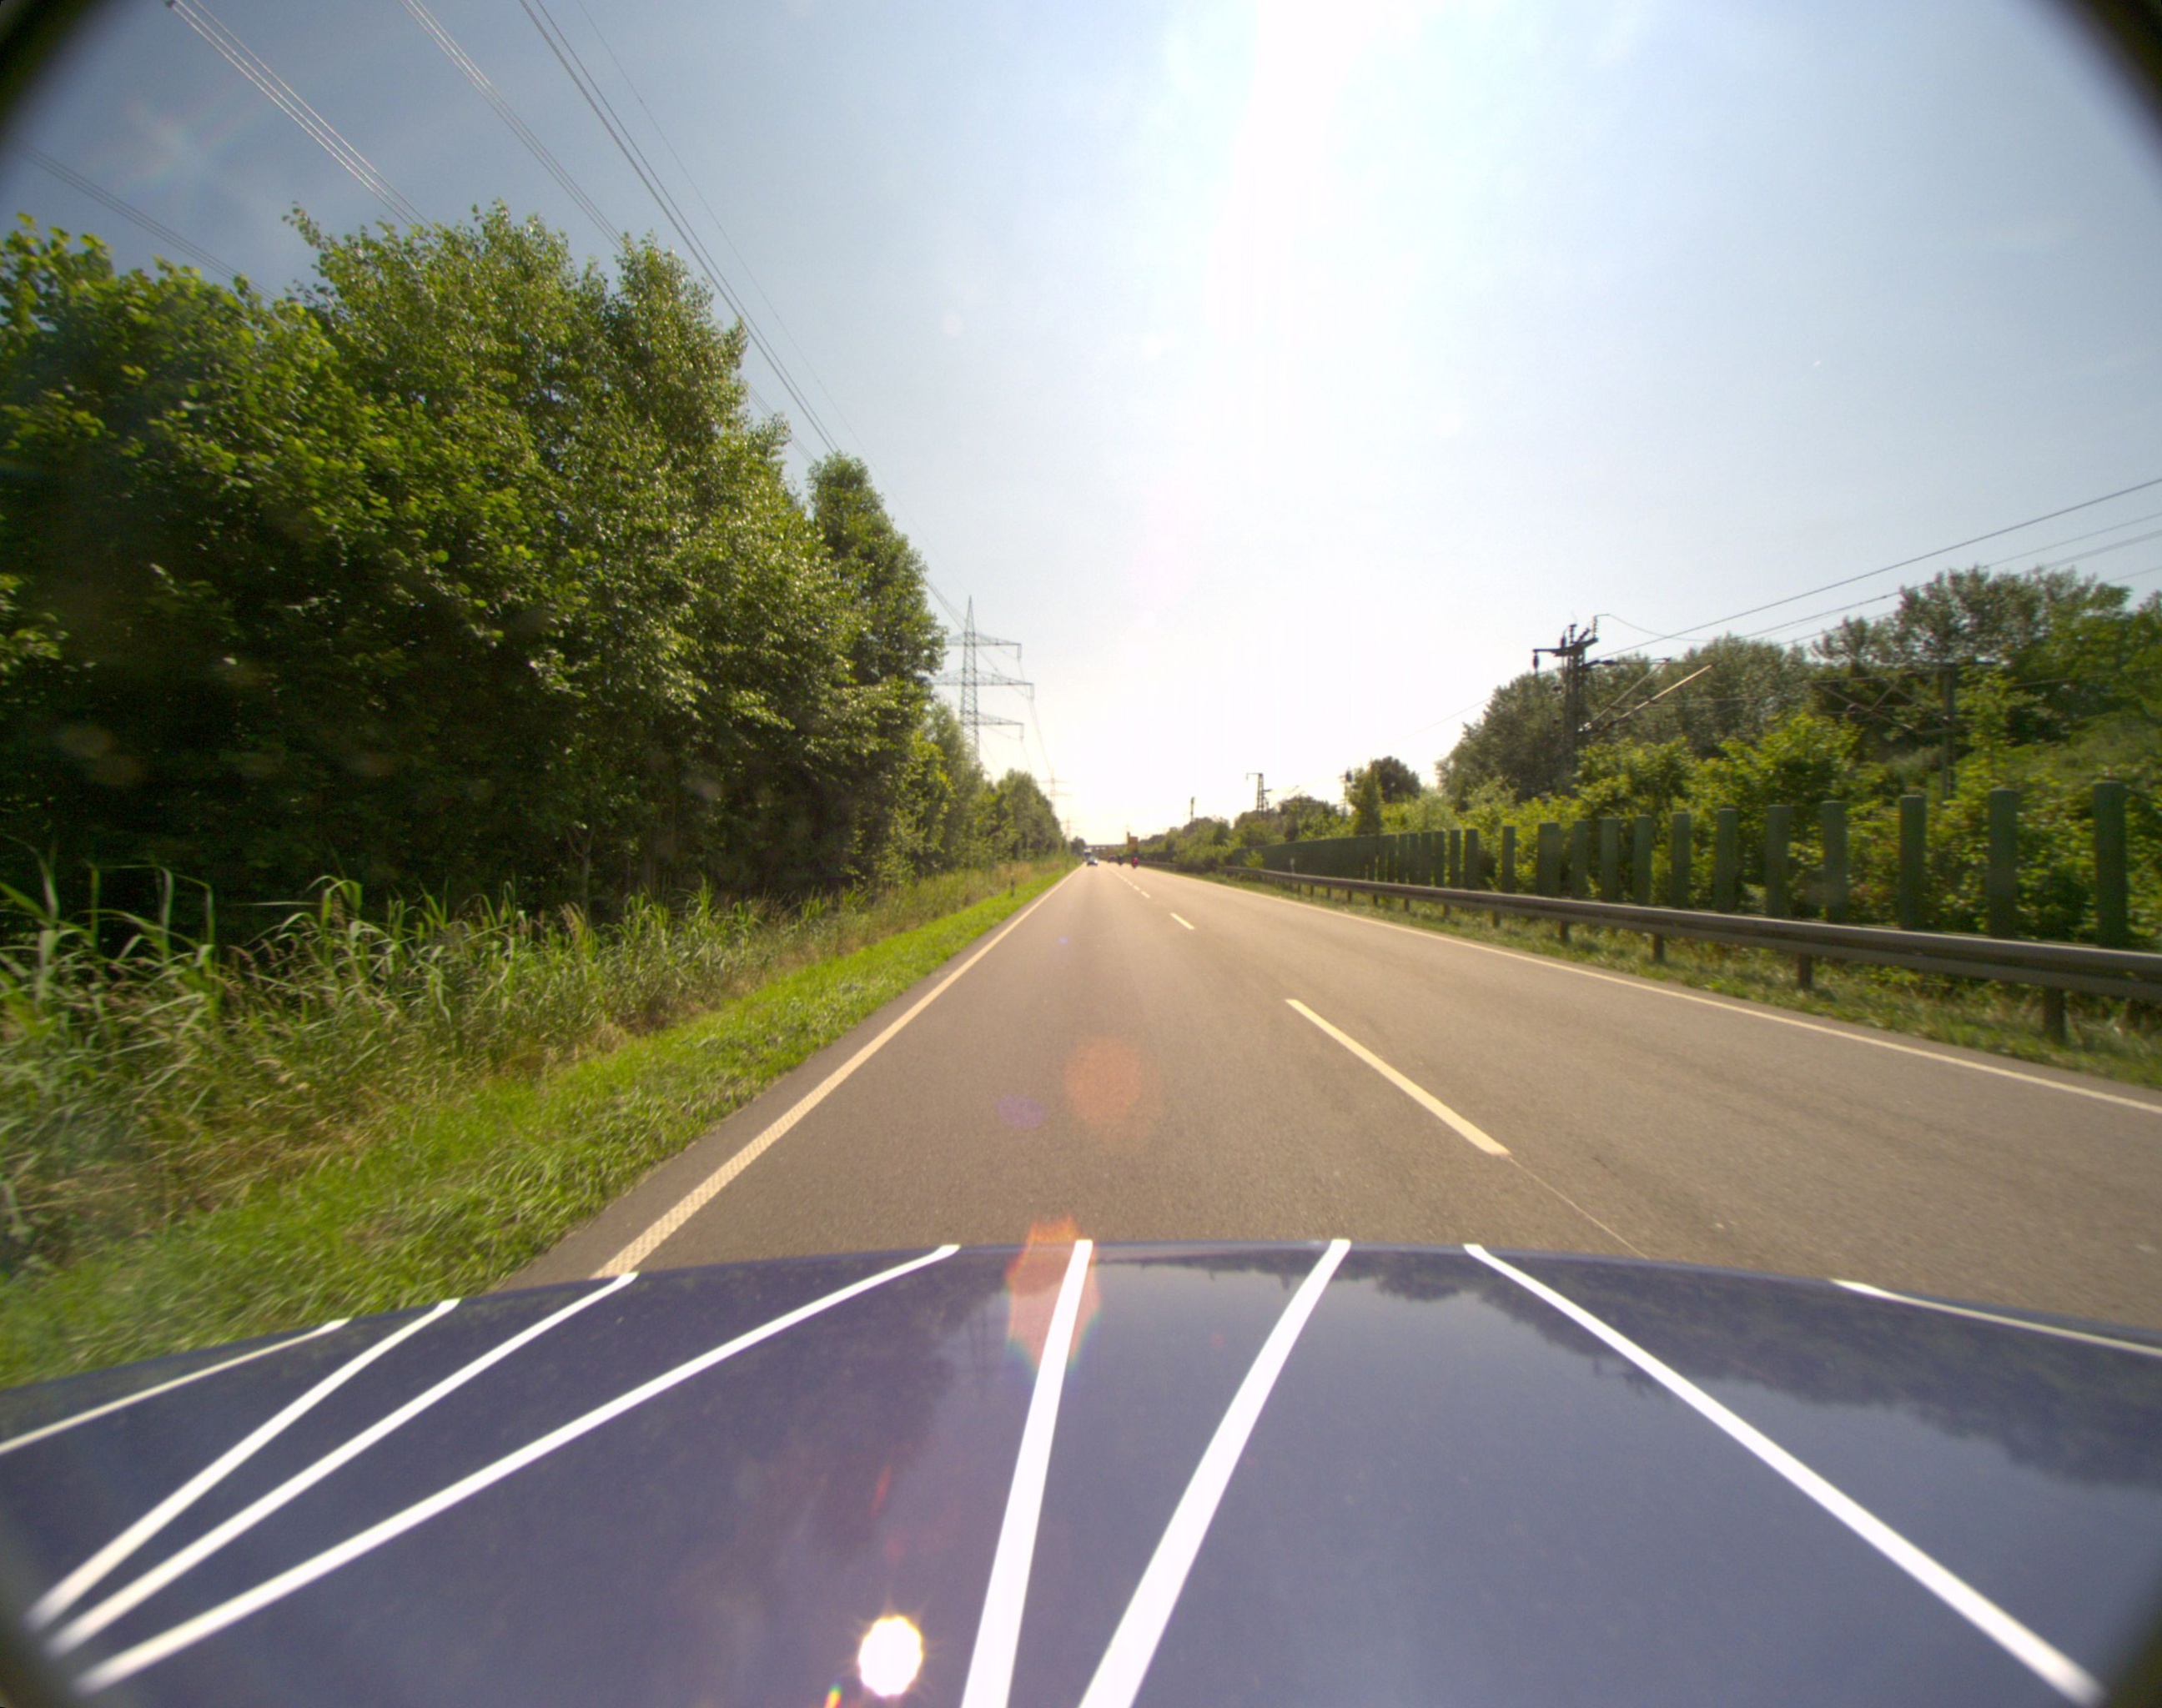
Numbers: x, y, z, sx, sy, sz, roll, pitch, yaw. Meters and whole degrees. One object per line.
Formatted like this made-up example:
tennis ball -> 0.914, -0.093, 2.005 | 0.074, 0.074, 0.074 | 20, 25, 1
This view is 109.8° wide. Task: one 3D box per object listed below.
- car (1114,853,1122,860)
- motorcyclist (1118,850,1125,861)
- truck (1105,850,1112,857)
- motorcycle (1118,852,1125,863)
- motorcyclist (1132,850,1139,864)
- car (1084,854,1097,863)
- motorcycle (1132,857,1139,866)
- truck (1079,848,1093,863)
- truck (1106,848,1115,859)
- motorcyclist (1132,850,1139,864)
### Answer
car -> 8.459, 0.574, 174.732 | 1.819, 1.684, 4.706 | -1, 0, 1
motorcyclist -> 5.954, 0.256, 112.269 | 0.961, 1.600, 1.003 | -2, 1, 2
truck -> 8.681, -0.206, 237.203 | 1.998, 2.334, 6.012 | -1, 0, 2
motorcycle -> 5.952, 0.542, 111.947 | 0.970, 1.487, 2.630 | -2, 1, 3
motorcyclist -> 6.364, 0.336, 88.396 | 0.751, 1.574, 0.864 | -2, 1, 2
car -> 1.486, 0.652, 120.535 | 1.998, 1.346, 4.157 | -2, 0, 0
motorcycle -> 6.432, 0.857, 89.293 | 0.756, 1.008, 2.721 | -2, 1, 3
truck -> 1.527, 0.534, 250.700 | 4.219, 4.608, 21.303 | -2, 0, 0
truck -> 7.464, -0.174, 192.822 | 2.085, 2.631, 5.704 | -1, 0, 1
motorcyclist -> 6.401, 0.322, 89.349 | 0.760, 1.574, 1.003 | -2, 1, 2
